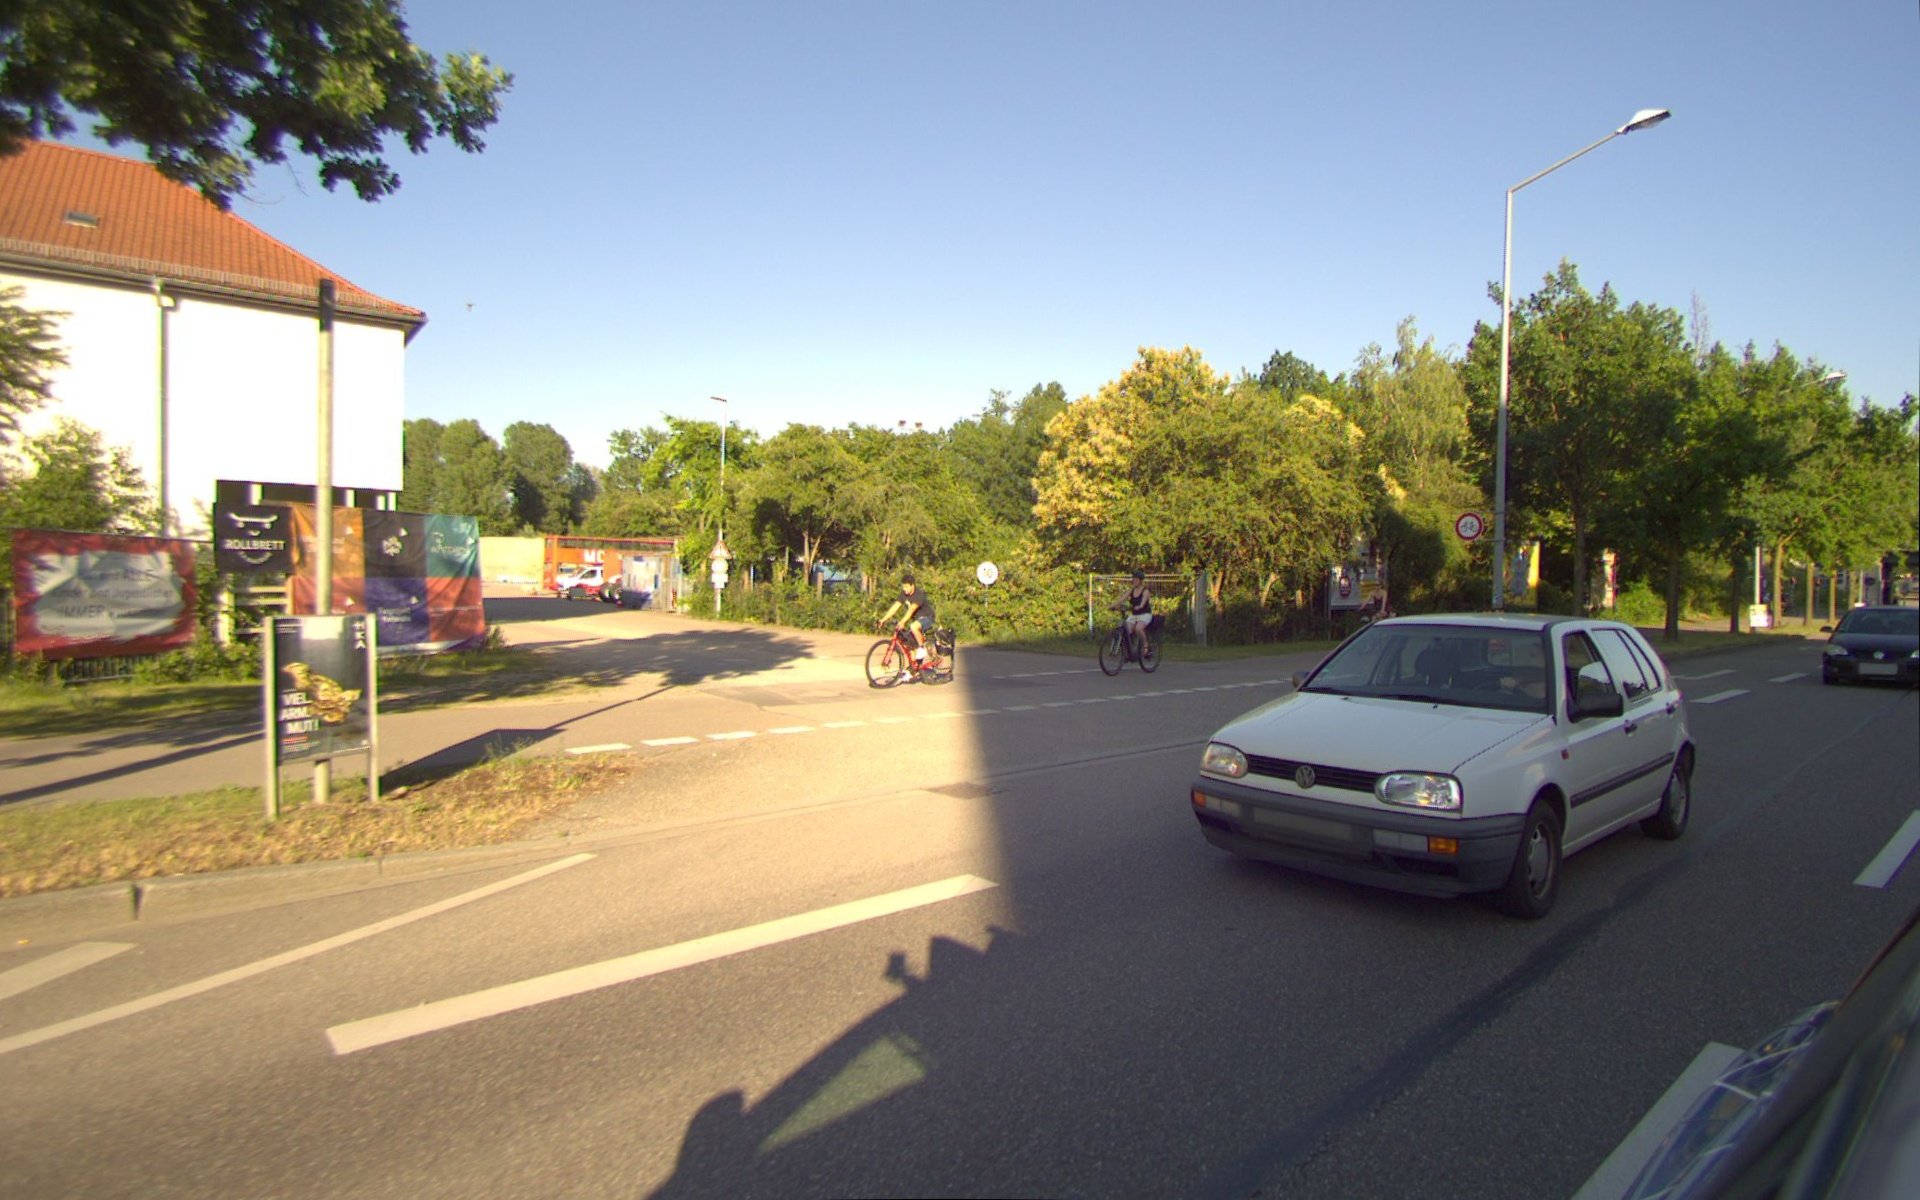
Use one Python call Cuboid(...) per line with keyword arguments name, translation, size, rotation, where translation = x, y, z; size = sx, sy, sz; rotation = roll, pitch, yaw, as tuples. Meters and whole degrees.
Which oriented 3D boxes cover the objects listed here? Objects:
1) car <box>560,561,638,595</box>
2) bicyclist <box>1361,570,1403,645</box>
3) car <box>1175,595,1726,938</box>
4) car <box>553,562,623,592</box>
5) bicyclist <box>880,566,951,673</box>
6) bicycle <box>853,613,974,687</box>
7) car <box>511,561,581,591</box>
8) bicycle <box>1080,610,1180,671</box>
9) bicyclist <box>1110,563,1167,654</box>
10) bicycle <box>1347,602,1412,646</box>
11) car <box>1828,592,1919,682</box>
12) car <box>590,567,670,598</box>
Cuboid(name="car", translation=(-20.881, -1.273, 58.613), size=(3.820, 1.905, 1.887), rotation=(0, 2, -41))
Cuboid(name="bicyclist", translation=(10.173, 0.171, 24.403), size=(0.833, 1.755, 0.604), rotation=(0, 1, -41))
Cuboid(name="car", translation=(3.159, 0.705, 6.124), size=(3.968, 1.416, 1.613), rotation=(1, -1, -42))
Cuboid(name="car", translation=(-24.371, -1.525, 66.330), size=(3.851, 1.905, 1.933), rotation=(0, 2, -41))
Cuboid(name="bicyclist", translation=(-0.653, 0.266, 14.953), size=(0.833, 1.520, 0.614), rotation=(0, 1, -41))
Cuboid(name="bicycle", translation=(-0.670, 0.713, 14.948), size=(1.790, 0.986, 0.618), rotation=(0, 1, -41))
Cuboid(name="car", translation=(-27.476, -1.584, 67.220), size=(3.867, 1.905, 1.917), rotation=(0, 2, -41))
Cuboid(name="bicycle", translation=(3.053, 0.695, 18.095), size=(2.023, 0.986, 0.618), rotation=(0, 1, -41))
Cuboid(name="bicyclist", translation=(3.208, 0.140, 18.201), size=(0.833, 1.598, 0.604), rotation=(0, 1, -41))
Cuboid(name="bicycle", translation=(10.117, 0.567, 24.367), size=(2.023, 0.986, 0.618), rotation=(0, 1, -41))
Cuboid(name="car", translation=(17.406, 0.673, 18.694), size=(4.143, 1.518, 1.722), rotation=(2, -1, -44))
Cuboid(name="car", translation=(-18.371, -0.965, 56.339), size=(3.821, 1.623, 1.870), rotation=(0, 2, -41))
